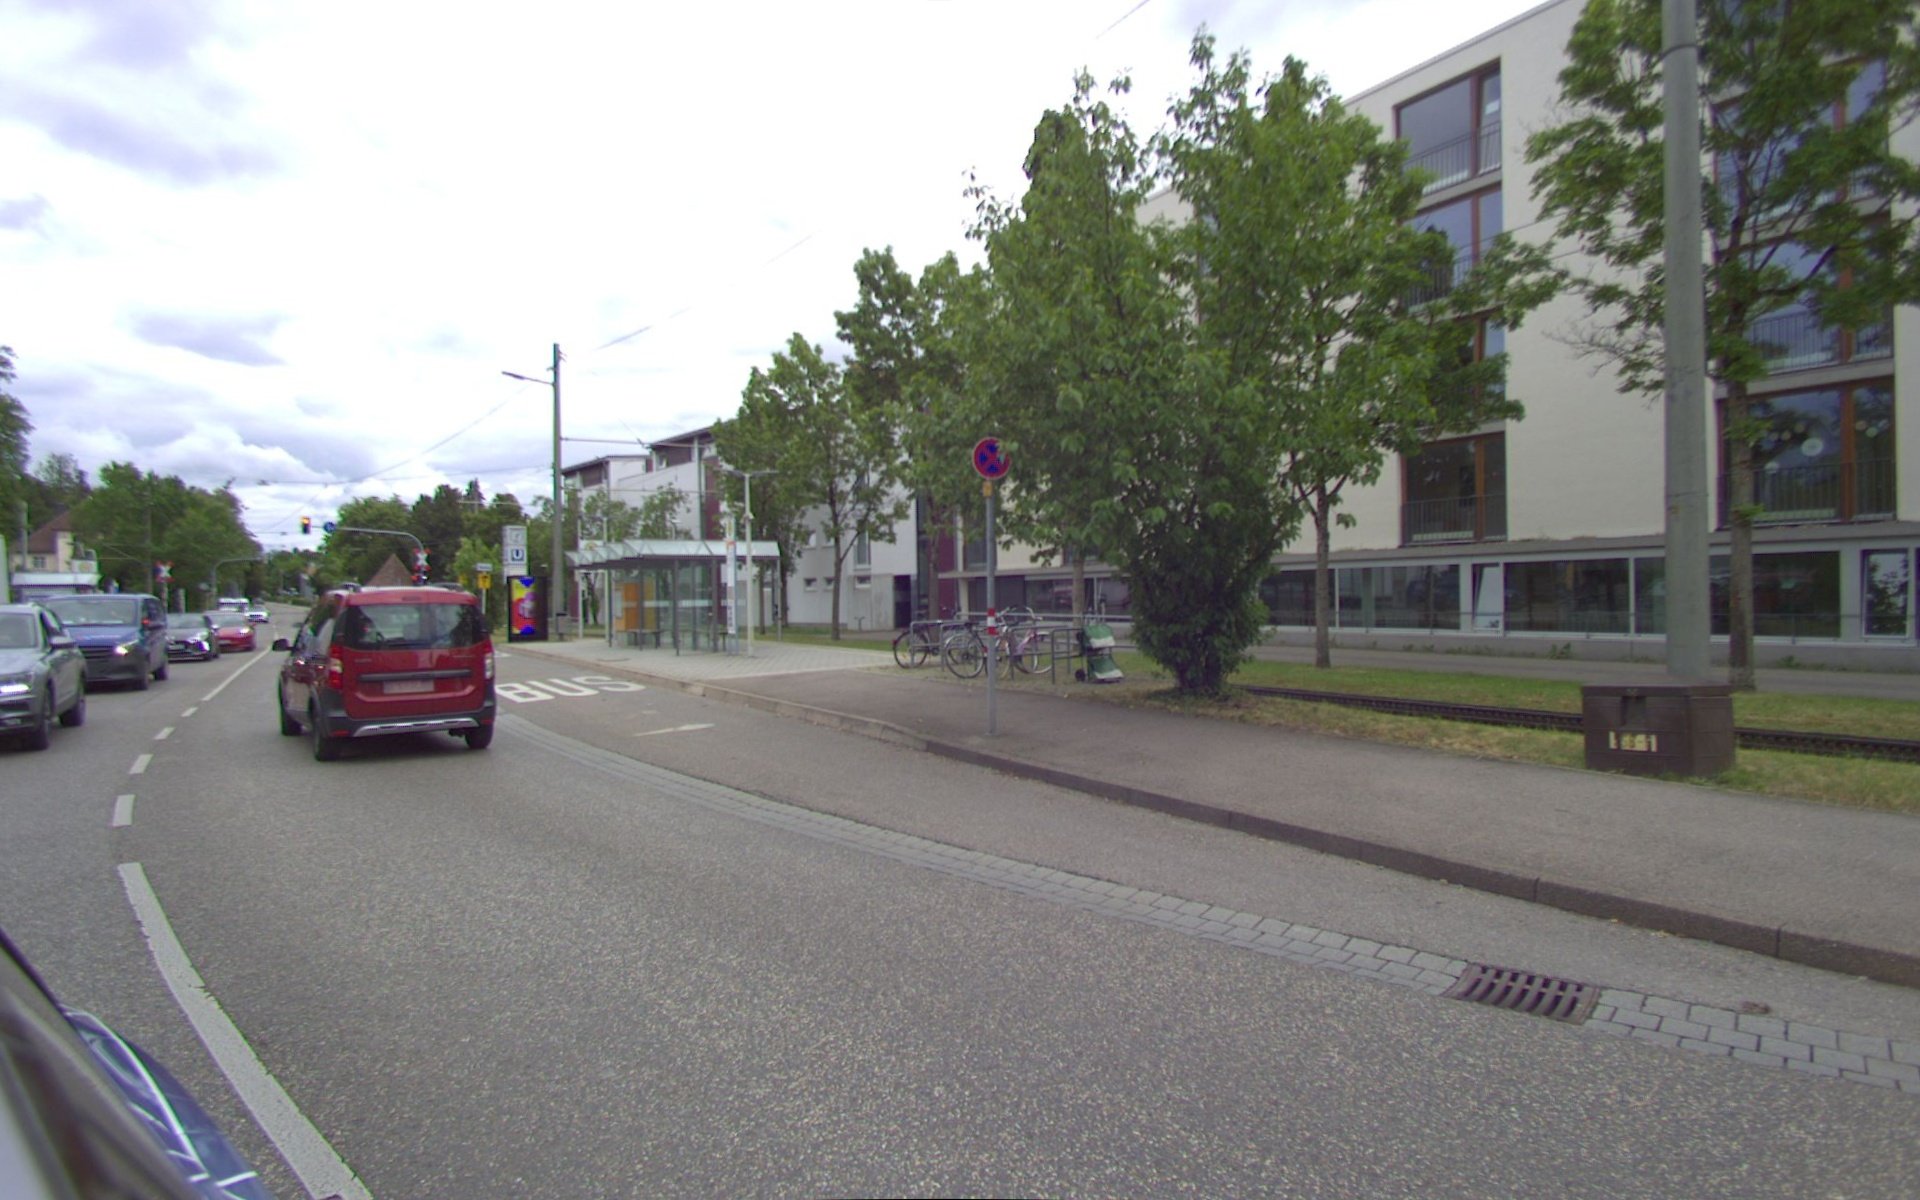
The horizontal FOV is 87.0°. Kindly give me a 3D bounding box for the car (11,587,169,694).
[{"bbox_3d":[-17.031,0.713,20.011,1.820,1.875,4.011,-1,0,-33],"label":"car"}]

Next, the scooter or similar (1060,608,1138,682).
[{"bbox_3d":[2.009,0.636,14.634,0.777,1.017,0.775,-1,0,-41],"label":"scooter or similar"}]

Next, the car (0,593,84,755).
[{"bbox_3d":[-11.635,0.784,11.769,1.783,1.659,4.341,-1,0,-36],"label":"car"}]

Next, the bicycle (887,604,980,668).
[{"bbox_3d":[-0.464,0.622,18.138,1.664,1.032,0.397,-3,1,-31],"label":"bicycle"}]

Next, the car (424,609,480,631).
[{"bbox_3d":[-43.125,1.680,85.898,3.934,1.719,1.933,-1,0,-36],"label":"car"}]

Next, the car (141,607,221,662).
[{"bbox_3d":[-23.626,0.997,30.756,1.821,1.546,4.009,0,0,-37],"label":"car"}]

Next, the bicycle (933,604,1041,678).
[{"bbox_3d":[0.447,0.632,16.072,1.724,1.054,0.409,-3,1,-31],"label":"bicycle"}]

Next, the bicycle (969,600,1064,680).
[{"bbox_3d":[0.889,0.594,15.528,0.408,1.097,1.685,-2,1,44],"label":"bicycle"}]

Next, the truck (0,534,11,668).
[{"bbox_3d":[-24.146,0.044,22.838,2.500,3.452,7.798,-1,1,-32],"label":"truck"}]

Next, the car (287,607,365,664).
[{"bbox_3d":[-17.937,0.981,28.759,1.743,1.490,4.012,1,-1,-31],"label":"car"}]

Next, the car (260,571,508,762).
[{"bbox_3d":[-6.887,0.671,11.878,1.660,1.822,4.358,1,-2,-41],"label":"car"}]

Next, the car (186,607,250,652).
[{"bbox_3d":[-27.248,1.033,37.136,1.821,1.546,4.009,0,0,-37],"label":"car"}]
